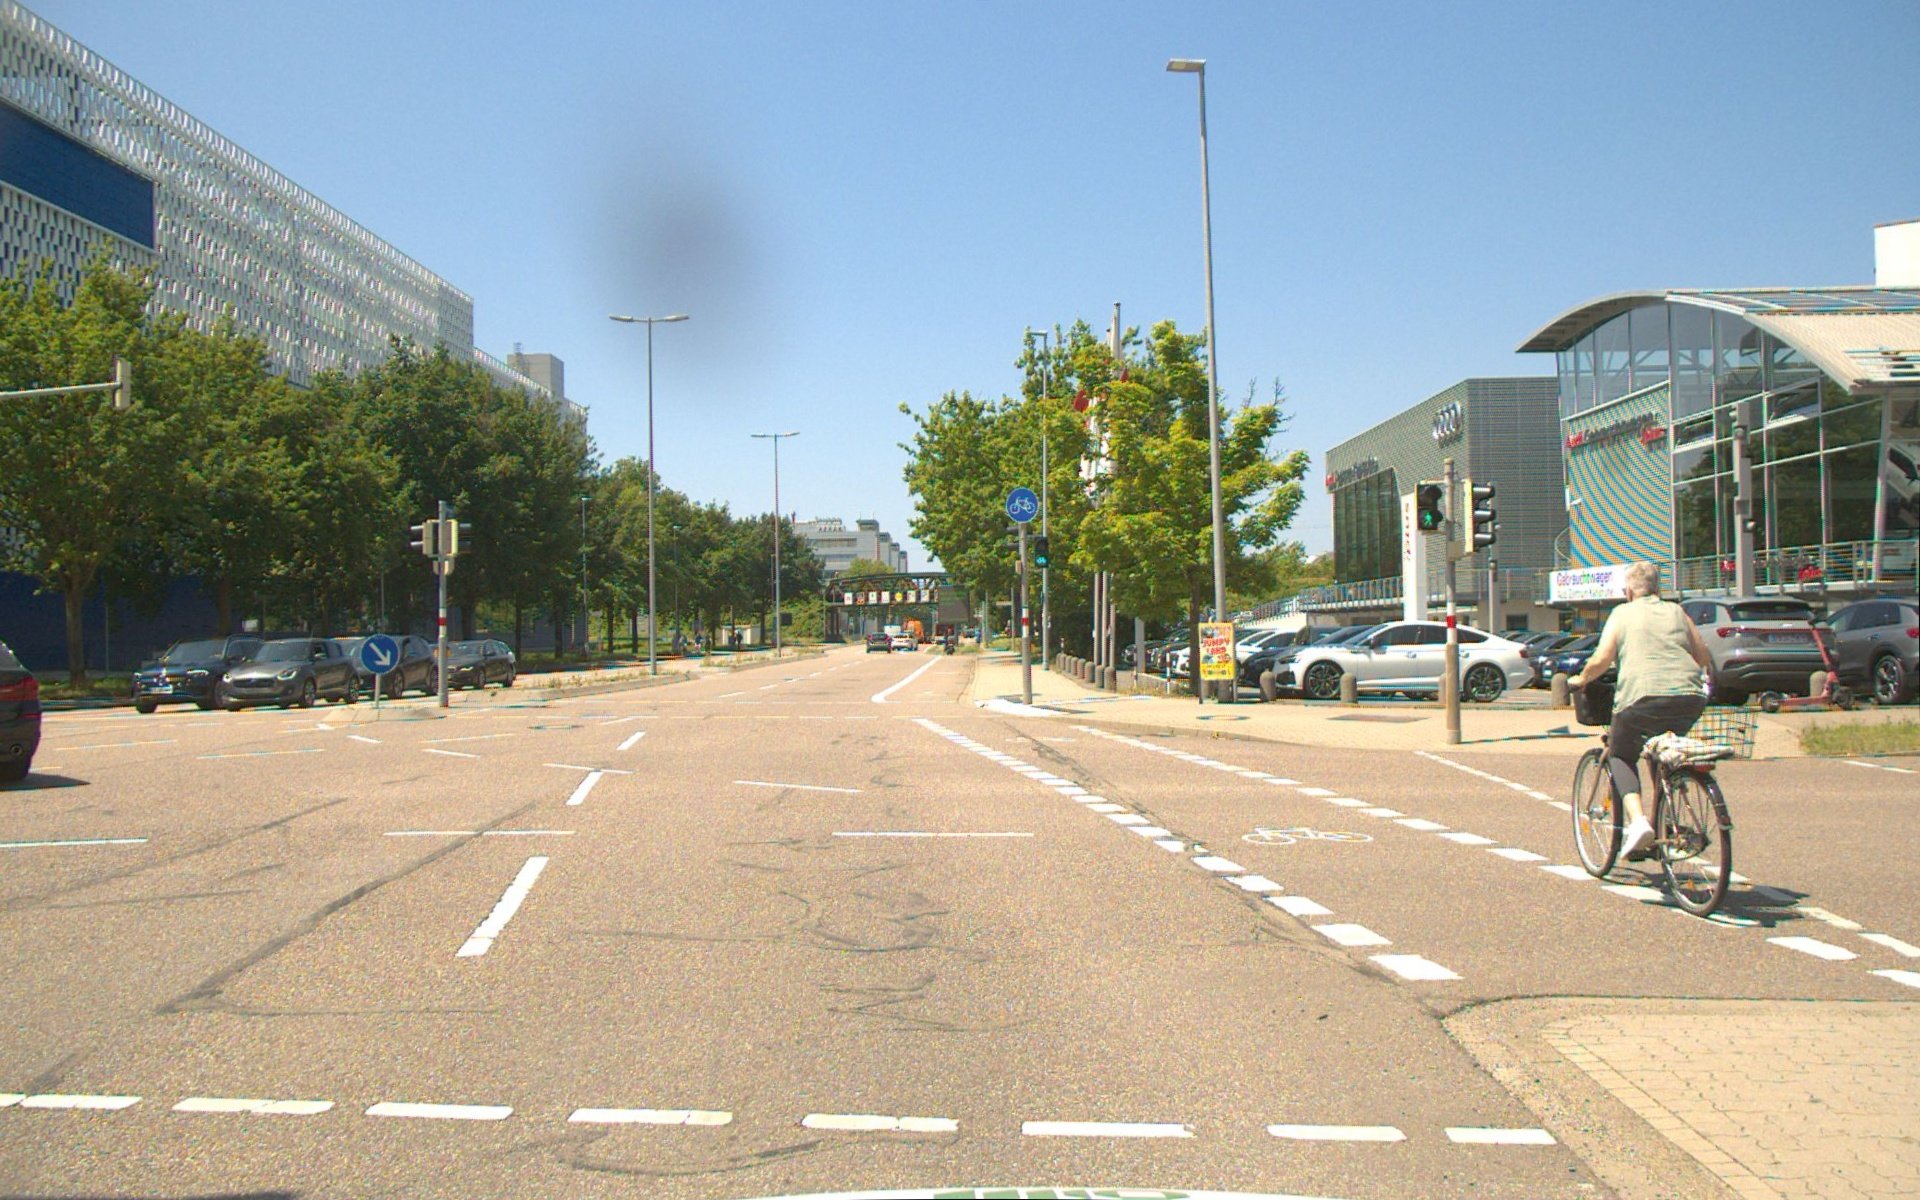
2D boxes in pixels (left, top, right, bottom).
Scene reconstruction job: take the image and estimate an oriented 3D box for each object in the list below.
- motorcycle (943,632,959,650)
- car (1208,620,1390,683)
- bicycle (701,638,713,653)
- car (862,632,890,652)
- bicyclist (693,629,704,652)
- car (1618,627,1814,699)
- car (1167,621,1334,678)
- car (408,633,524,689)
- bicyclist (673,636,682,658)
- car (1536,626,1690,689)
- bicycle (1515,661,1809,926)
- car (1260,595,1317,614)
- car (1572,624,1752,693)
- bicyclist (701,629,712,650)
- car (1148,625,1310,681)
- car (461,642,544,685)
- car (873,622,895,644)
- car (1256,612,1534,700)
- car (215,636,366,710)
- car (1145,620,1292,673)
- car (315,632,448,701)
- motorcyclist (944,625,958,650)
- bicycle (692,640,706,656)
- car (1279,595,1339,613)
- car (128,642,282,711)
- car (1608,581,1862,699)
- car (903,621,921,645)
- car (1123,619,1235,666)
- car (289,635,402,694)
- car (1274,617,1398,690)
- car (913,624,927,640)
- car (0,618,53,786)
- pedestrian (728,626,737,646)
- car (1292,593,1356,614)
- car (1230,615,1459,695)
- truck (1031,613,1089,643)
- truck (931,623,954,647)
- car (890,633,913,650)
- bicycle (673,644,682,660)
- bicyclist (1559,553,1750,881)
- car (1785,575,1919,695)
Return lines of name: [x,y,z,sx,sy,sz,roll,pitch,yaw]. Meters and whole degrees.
motorcycle: [-0.575,2.540,102.174,0.703,1.124,1.826,1,-1,-9]
car: [8.134,1.239,39.941,4.012,1.388,1.874,1,-1,0]
bicycle: [-19.930,3.581,130.376,0.616,1.179,2.117,-3,-1,0]
car: [-6.166,3.096,121.795,1.862,1.400,4.230,-1,-1,0]
bicyclist: [-19.162,2.960,121.199,0.730,1.715,0.951,-1,-1,-3]
car: [18.256,1.509,40.075,3.903,1.626,1.850,1,-1,0]
car: [7.485,1.273,42.876,4.015,1.372,1.869,1,-1,0]
car: [-14.322,1.751,48.186,1.690,1.471,4.721,-3,-2,3]
bicyclist: [-20.783,3.466,121.706,0.625,1.610,0.882,-1,-1,-9]
car: [17.875,1.575,45.396,3.572,1.608,1.642,1,-1,0]
bicycle: [3.618,0.941,8.720,0.615,1.153,1.893,-1,0,-5]
car: [24.683,0.358,124.267,3.908,1.335,1.796,1,-1,-4]
car: [18.004,1.484,42.528,3.903,1.650,1.656,1,-1,0]
bicyclist: [-19.953,3.104,130.368,0.621,1.657,1.044,-3,-1,0]
car: [7.363,1.445,45.521,4.139,1.415,1.869,1,-1,0]
car: [-17.163,2.361,62.271,1.691,1.471,4.452,-3,-2,2]
car: [-7.122,3.120,155.250,1.953,2.049,3.999,0,-1,0]
car: [7.684,0.986,29.526,4.497,1.415,1.869,1,-1,1]
car: [-14.231,1.527,35.361,1.610,1.413,3.715,-3,-2,1]
car: [7.525,1.353,48.443,4.016,1.429,1.869,1,-1,0]
car: [-14.392,1.635,41.383,1.691,1.531,4.243,-3,-2,1]
motorcyclist: [-0.575,2.322,102.197,0.706,1.556,0.869,1,-2,-9]
bicycle: [-19.159,3.510,121.312,0.724,1.145,2.433,-1,-1,-3]
car: [24.763,0.274,117.478,3.861,1.232,1.716,0,-1,-4]
car: [-17.168,1.714,37.800,1.626,1.449,4.038,-2,-2,0]
car: [11.712,0.644,25.375,1.829,1.586,4.503,-2,-2,1]
car: [-5.877,4.042,205.062,2.030,2.905,6.763,-1,-1,0]
car: [7.447,1.446,56.470,3.606,1.479,1.834,1,-1,0]
car: [-17.439,1.808,47.114,1.691,1.571,3.915,-2,-2,0]
car: [8.160,1.141,36.281,1.824,1.445,4.663,1,-1,2]
car: [-5.260,4.232,219.770,1.715,2.049,3.870,-1,-1,0]
car: [-10.293,0.936,15.697,4.480,1.466,1.790,-2,-1,45]
pedestrian: [-22.539,3.571,164.012,0.728,1.917,0.577,-1,-1,1]
car: [24.676,0.261,112.111,3.908,1.335,1.796,1,-1,-4]
car: [7.410,1.060,32.143,4.012,1.415,1.869,1,-1,0]
truck: [10.060,2.783,166.583,5.486,2.900,2.621,1,-1,-5]
truck: [-1.888,3.813,181.071,2.408,2.453,7.133,1,-1,0]
car: [-4.955,3.531,140.849,1.885,1.445,3.999,0,-1,0]
bicycle: [-20.781,3.824,121.720,0.625,1.153,1.967,-1,-1,-8]
bicyclist: [3.625,0.592,8.679,0.615,1.634,0.825,1,-1,-4]
car: [14.321,0.549,25.078,1.806,1.683,4.000,1,-1,3]
